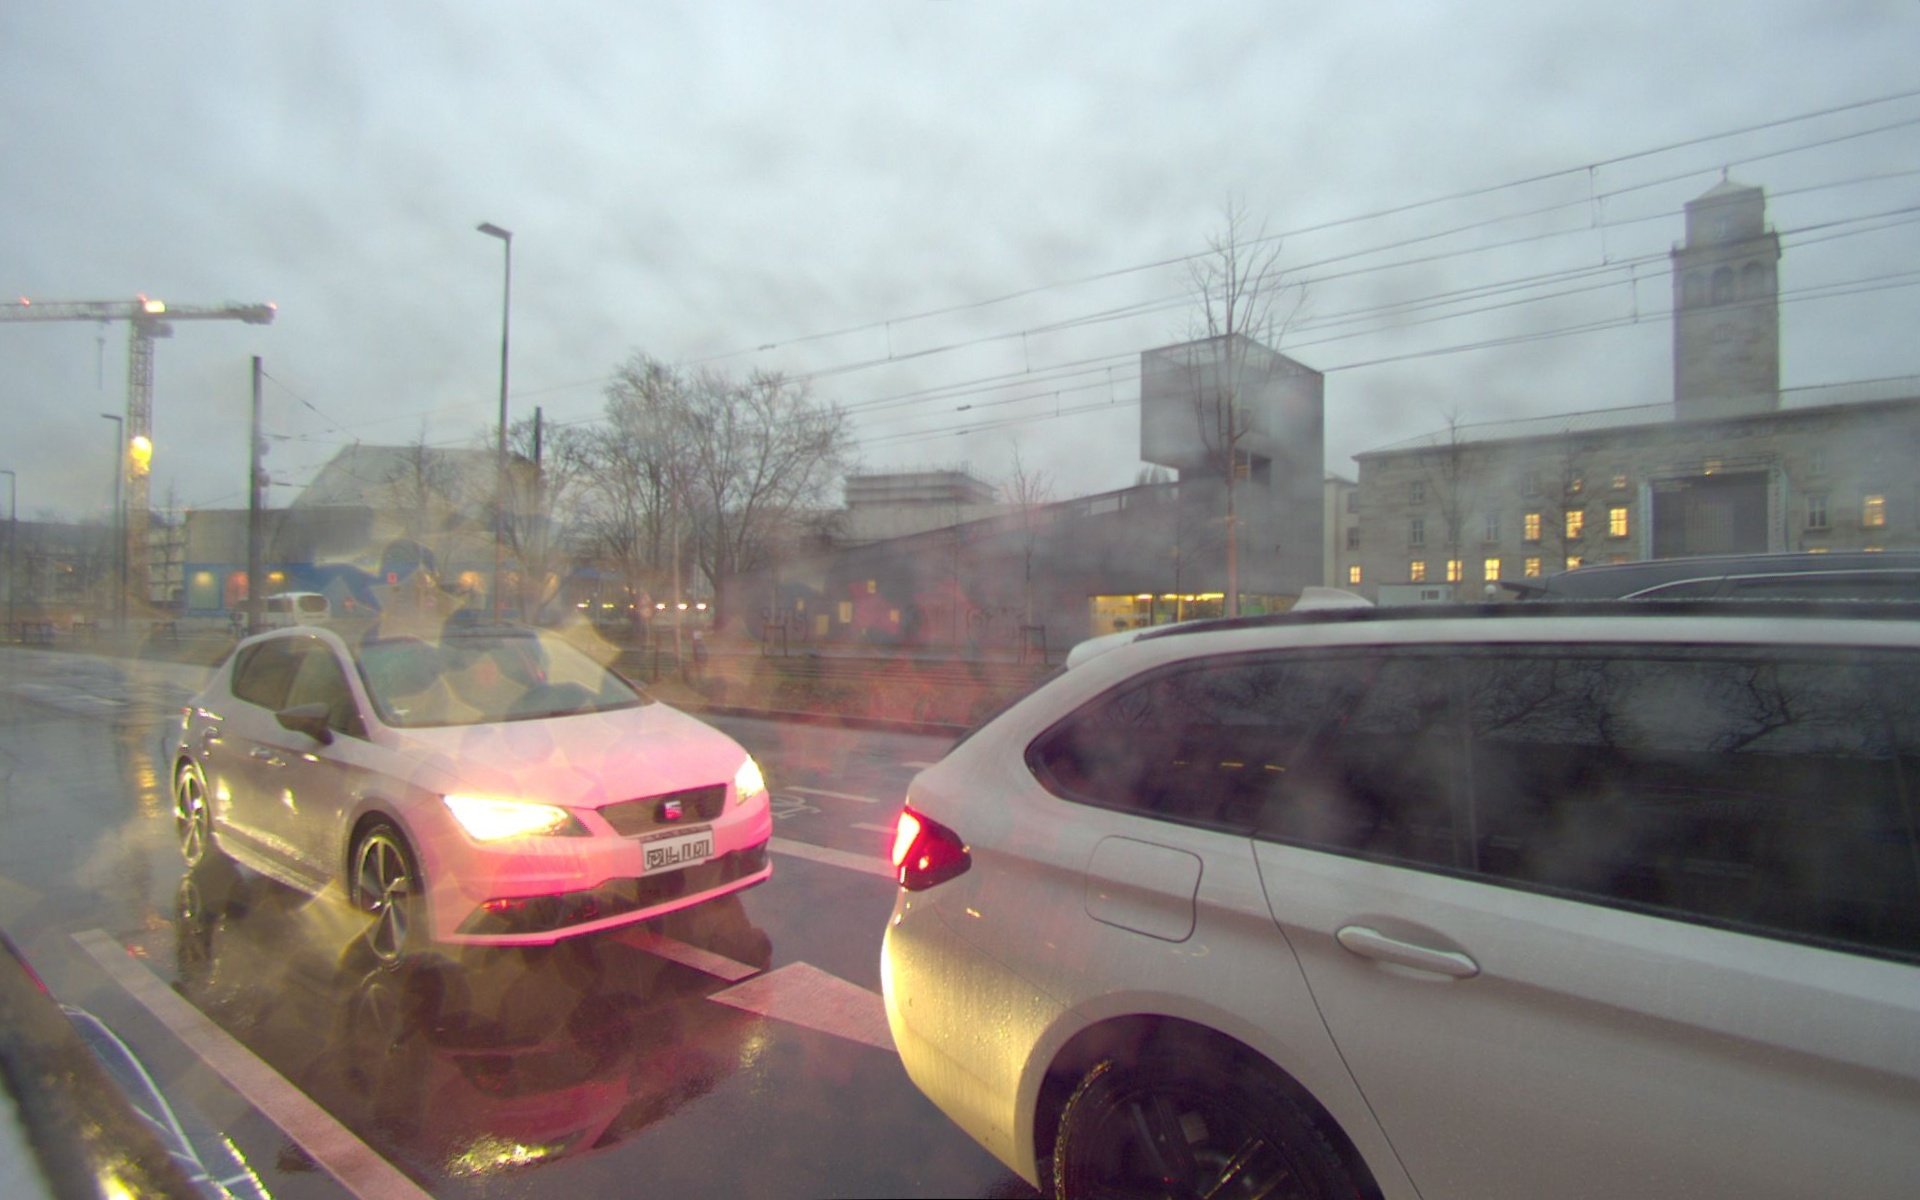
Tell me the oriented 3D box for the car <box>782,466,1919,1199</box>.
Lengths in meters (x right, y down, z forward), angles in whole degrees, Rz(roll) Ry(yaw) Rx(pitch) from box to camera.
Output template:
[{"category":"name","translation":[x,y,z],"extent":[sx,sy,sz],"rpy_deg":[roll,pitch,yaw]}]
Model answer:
[{"category":"car","translation":[2.042,0.621,1.665],"extent":[4.919,1.532,1.890],"rpy_deg":[-1,-2,40]}]

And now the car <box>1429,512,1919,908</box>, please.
[{"category":"car","translation":[4.991,0.501,5.000],"extent":[4.605,1.756,1.686],"rpy_deg":[-1,-2,38]}]

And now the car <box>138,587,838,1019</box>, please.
[{"category":"car","translation":[-2.744,0.738,5.471],"extent":[4.124,1.486,1.757],"rpy_deg":[-1,-2,38]}]

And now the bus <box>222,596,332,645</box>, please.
[{"category":"bus","translation":[-53.303,1.612,78.800],"extent":[12.277,3.605,2.783],"rpy_deg":[-1,-2,35]}]
